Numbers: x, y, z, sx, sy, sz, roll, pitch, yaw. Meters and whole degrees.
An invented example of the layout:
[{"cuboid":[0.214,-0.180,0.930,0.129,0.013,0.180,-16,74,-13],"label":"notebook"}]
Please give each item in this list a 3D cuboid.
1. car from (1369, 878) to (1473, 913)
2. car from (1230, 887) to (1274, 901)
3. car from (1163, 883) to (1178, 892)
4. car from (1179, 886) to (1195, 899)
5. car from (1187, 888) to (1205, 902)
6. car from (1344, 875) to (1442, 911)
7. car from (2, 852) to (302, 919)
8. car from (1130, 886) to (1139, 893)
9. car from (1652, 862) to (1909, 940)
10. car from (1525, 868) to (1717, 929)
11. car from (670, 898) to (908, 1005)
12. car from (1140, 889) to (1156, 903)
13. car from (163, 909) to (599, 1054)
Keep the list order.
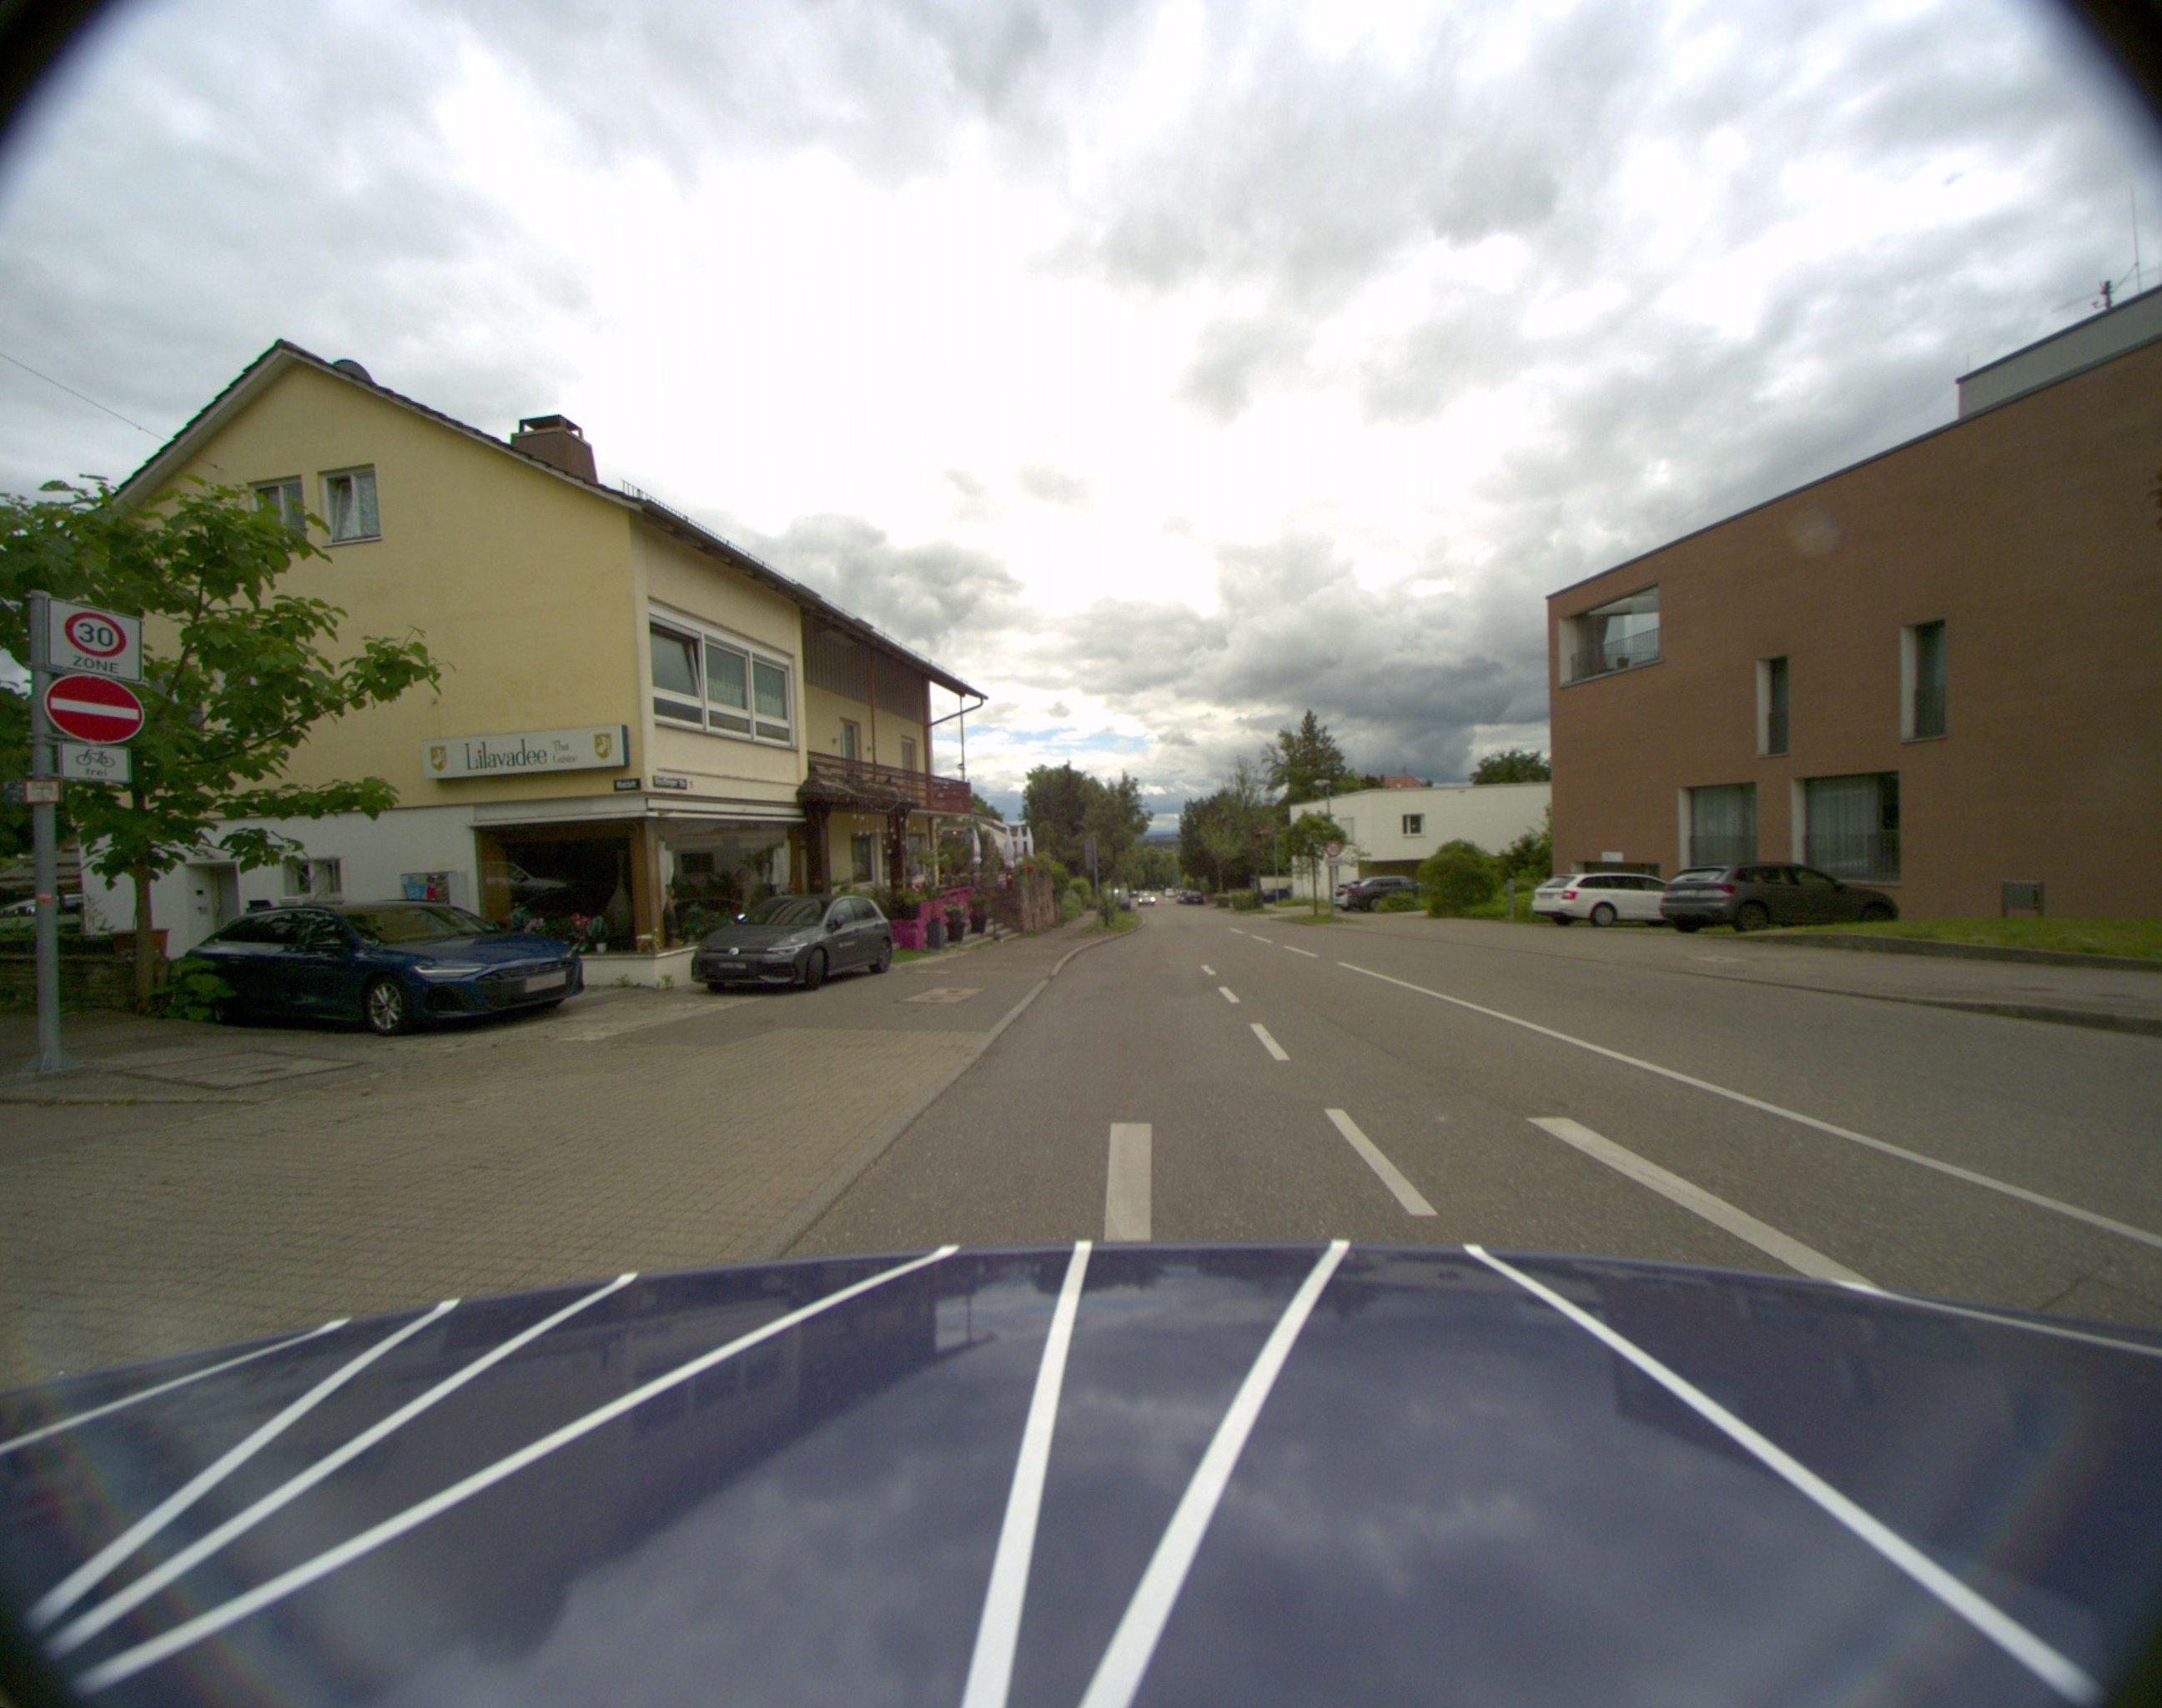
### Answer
[{"cuboid":[15.611,1.898,35.035,3.996,1.476,1.728,-2,-3,3],"label":"car"},{"cuboid":[16.562,3.886,73.729,3.995,1.278,1.665,-2,-3,7],"label":"car"},{"cuboid":[16.229,6.072,137.973,1.884,1.412,4.368,-1,-1,-2],"label":"car"},{"cuboid":[12.514,4.557,89.576,1.661,1.412,4.372,-2,-3,6],"label":"car"},{"cuboid":[12.197,4.301,80.579,1.661,1.412,4.004,-2,-3,6],"label":"car"},{"cuboid":[15.066,1.896,36.877,3.996,1.585,1.795,-2,-3,3],"label":"car"},{"cuboid":[-22.708,0.829,18.852,1.795,1.452,4.336,-2,-4,22],"label":"car"},{"cuboid":[13.019,8.587,184.087,1.883,1.412,4.369,-1,-1,1],"label":"car"},{"cuboid":[14.922,0.995,16.353,3.998,1.476,1.727,-1,-3,-3],"label":"car"},{"cuboid":[14.623,1.197,20.714,3.998,1.476,1.727,-1,-3,-3],"label":"car"},{"cuboid":[-4.536,1.481,12.629,1.796,1.452,4.332,-1,-4,8],"label":"car"},{"cuboid":[7.402,4.598,83.507,1.725,1.476,4.004,-2,-3,6],"label":"car"},{"cuboid":[-8.522,1.420,9.292,4.739,1.378,1.802,-2,-1,18],"label":"car"}]
